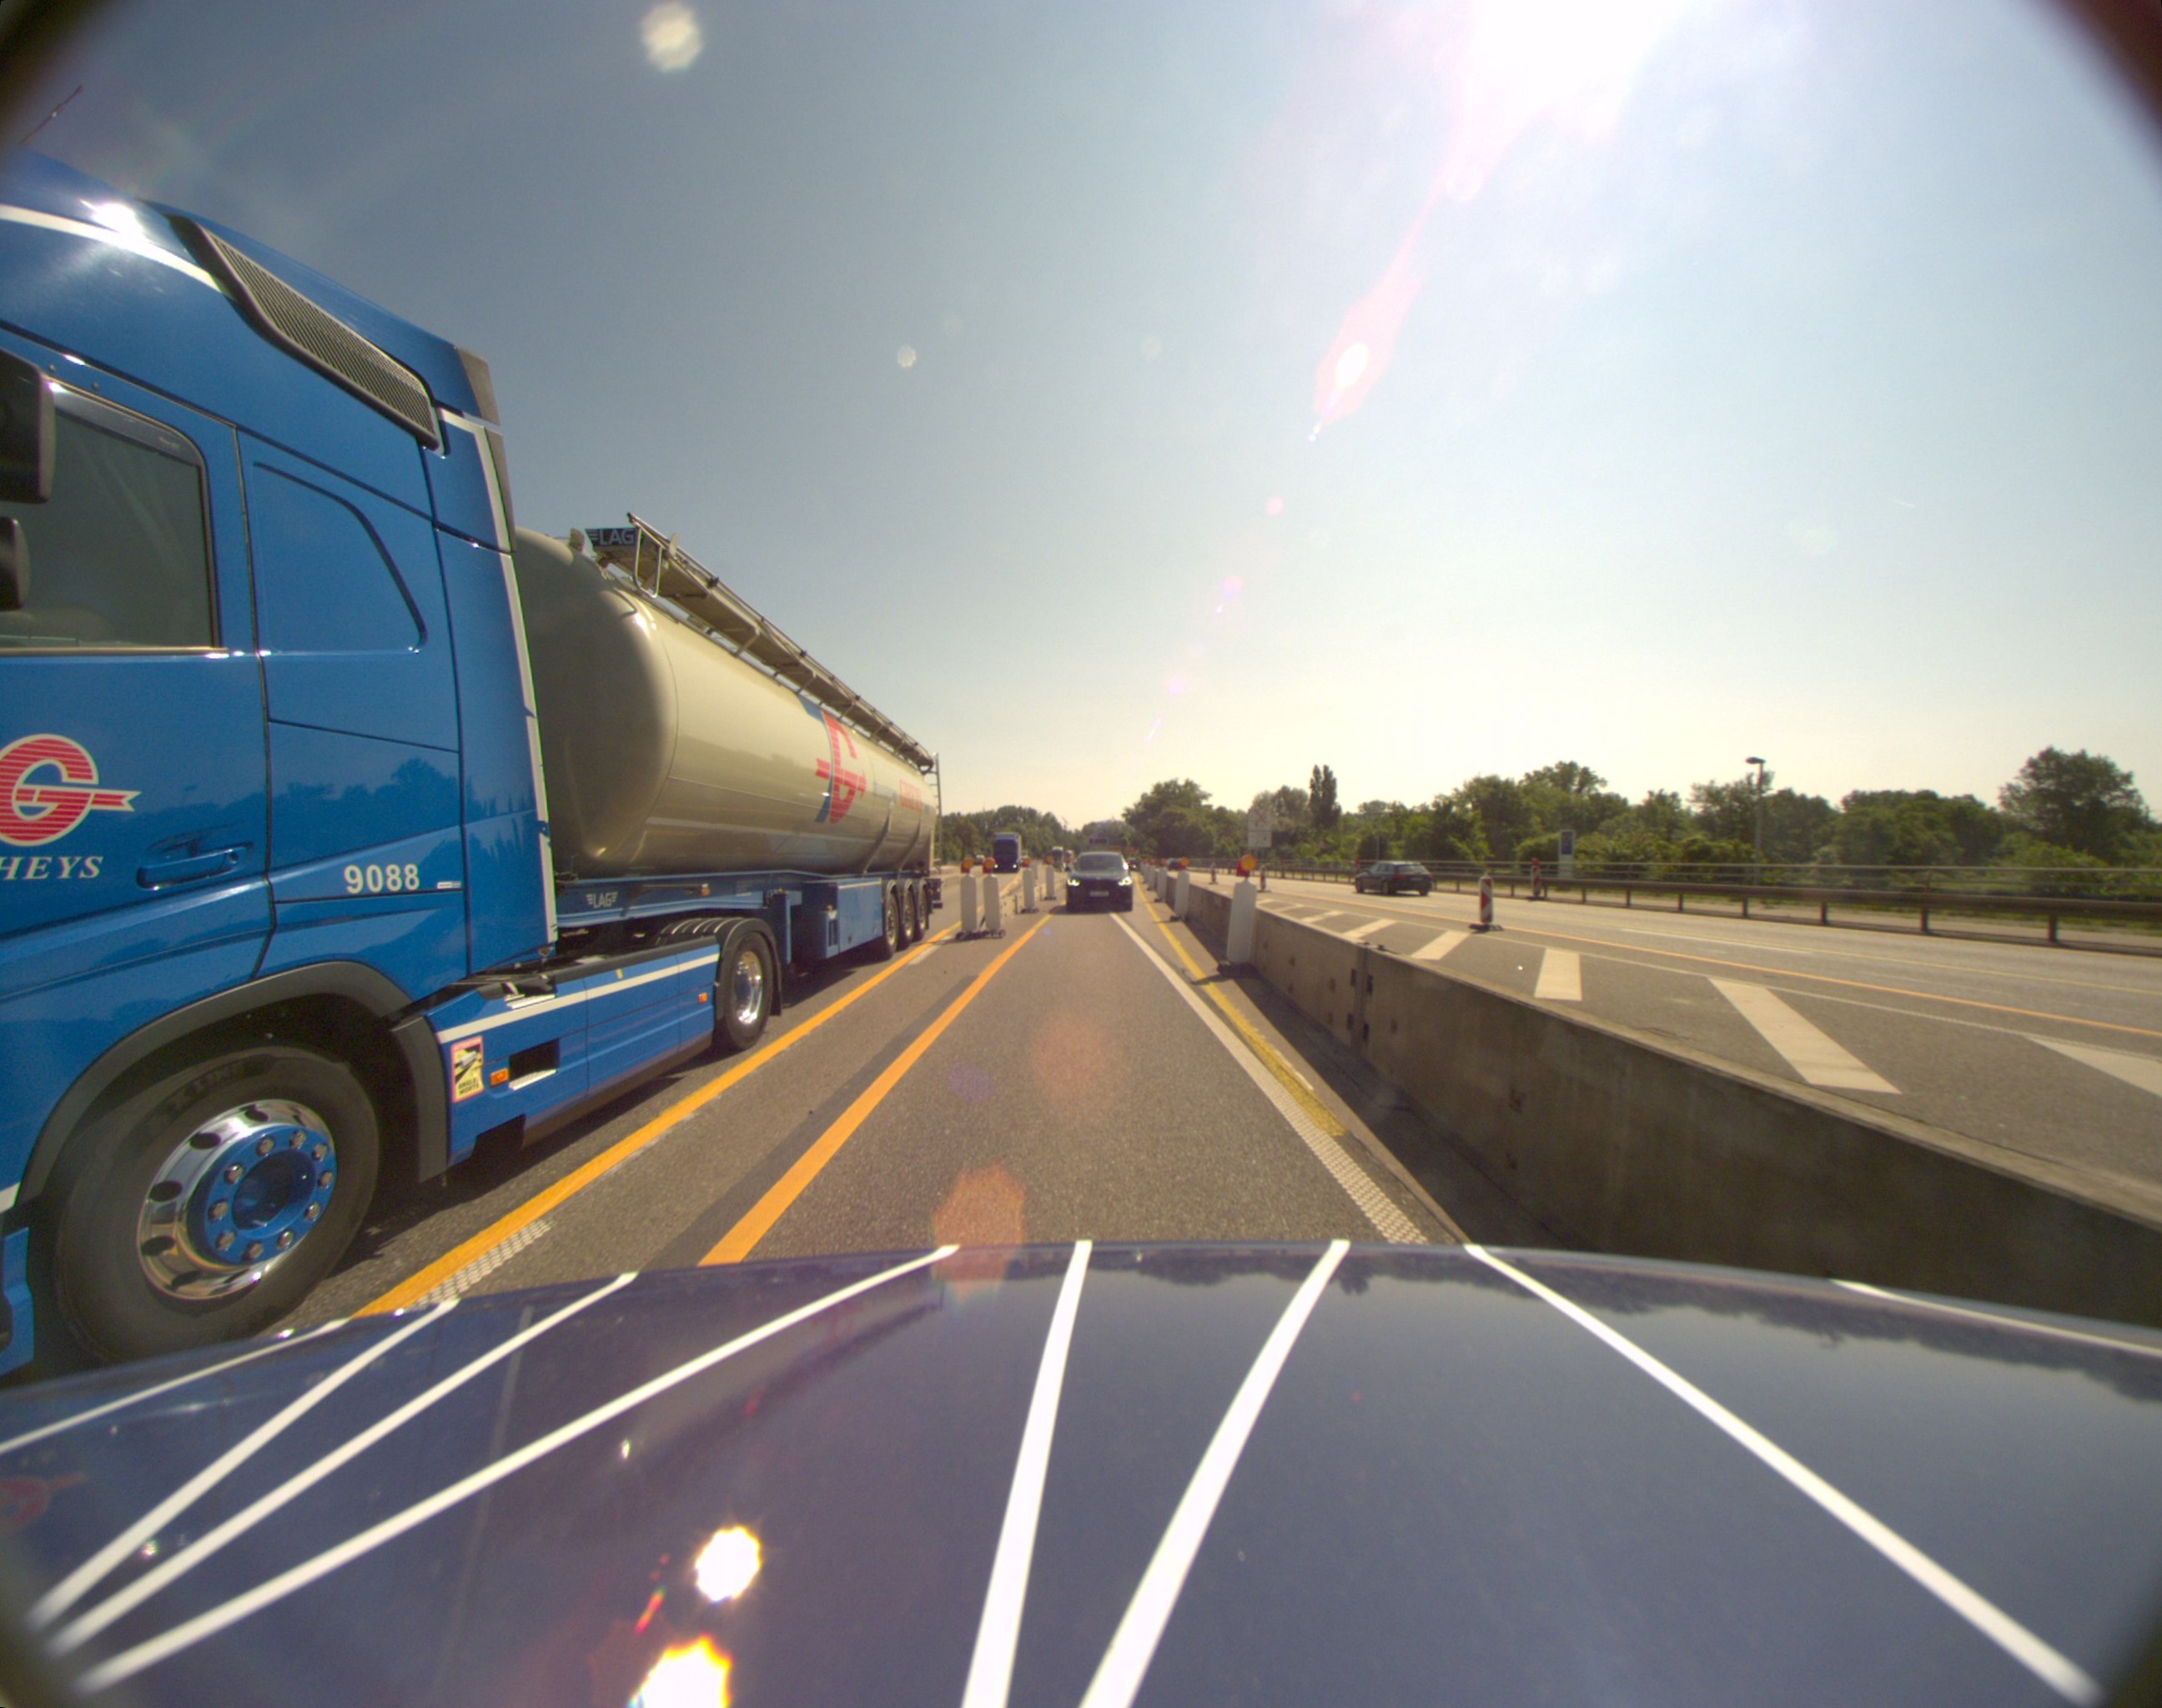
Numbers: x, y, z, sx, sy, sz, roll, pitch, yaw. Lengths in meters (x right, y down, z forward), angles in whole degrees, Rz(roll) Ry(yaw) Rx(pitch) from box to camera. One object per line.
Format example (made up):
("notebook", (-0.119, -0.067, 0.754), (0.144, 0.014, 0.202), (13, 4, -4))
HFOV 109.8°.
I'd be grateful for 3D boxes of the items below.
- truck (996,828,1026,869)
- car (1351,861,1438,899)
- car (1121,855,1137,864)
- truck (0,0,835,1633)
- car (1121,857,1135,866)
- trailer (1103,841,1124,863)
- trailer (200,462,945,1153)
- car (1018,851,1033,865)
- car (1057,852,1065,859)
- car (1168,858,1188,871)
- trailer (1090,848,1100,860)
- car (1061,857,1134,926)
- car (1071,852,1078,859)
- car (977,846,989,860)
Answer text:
("truck", (-7.377, -0.568, 79.879), (2.862, 3.961, 8.661), (1, 0, -5))
("car", (13.444, 1.065, 32.904), (1.742, 1.467, 4.644), (0, 0, -1))
("car", (7.706, 0.900, 121.953), (1.938, 1.499, 4.467), (0, 0, -4))
("truck", (-3.932, -0.258, 4.602), (2.701, 4.078, 7.298), (1, 0, -2))
("car", (6.900, 1.099, 111.631), (1.694, 1.368, 4.272), (0, 0, -2))
("trailer", (6.424, -0.445, 152.227), (2.769, 4.112, 14.525), (1, 0, -4))
("trailer", (-4.185, -0.260, 10.892), (2.701, 4.113, 12.610), (1, 0, -3))
("car", (-8.172, 0.546, 112.279), (1.999, 2.002, 3.999), (1, 0, -3))
("car", (-4.497, 0.381, 173.896), (1.747, 1.621, 4.092), (1, 0, 0))
("car", (11.285, 1.173, 88.663), (1.671, 1.433, 4.996), (0, 0, -1))
("trailer", (4.912, 0.142, 266.762), (2.811, 4.019, 13.465), (1, 0, -2))
("car", (0.453, 0.921, 20.880), (1.789, 1.651, 4.487), (0, 0, 1))
("car", (-2.094, 0.466, 246.688), (1.998, 2.002, 4.001), (1, 0, 2))
("car", (-18.474, -0.206, 143.482), (2.111, 2.626, 5.980), (1, 0, -9))
